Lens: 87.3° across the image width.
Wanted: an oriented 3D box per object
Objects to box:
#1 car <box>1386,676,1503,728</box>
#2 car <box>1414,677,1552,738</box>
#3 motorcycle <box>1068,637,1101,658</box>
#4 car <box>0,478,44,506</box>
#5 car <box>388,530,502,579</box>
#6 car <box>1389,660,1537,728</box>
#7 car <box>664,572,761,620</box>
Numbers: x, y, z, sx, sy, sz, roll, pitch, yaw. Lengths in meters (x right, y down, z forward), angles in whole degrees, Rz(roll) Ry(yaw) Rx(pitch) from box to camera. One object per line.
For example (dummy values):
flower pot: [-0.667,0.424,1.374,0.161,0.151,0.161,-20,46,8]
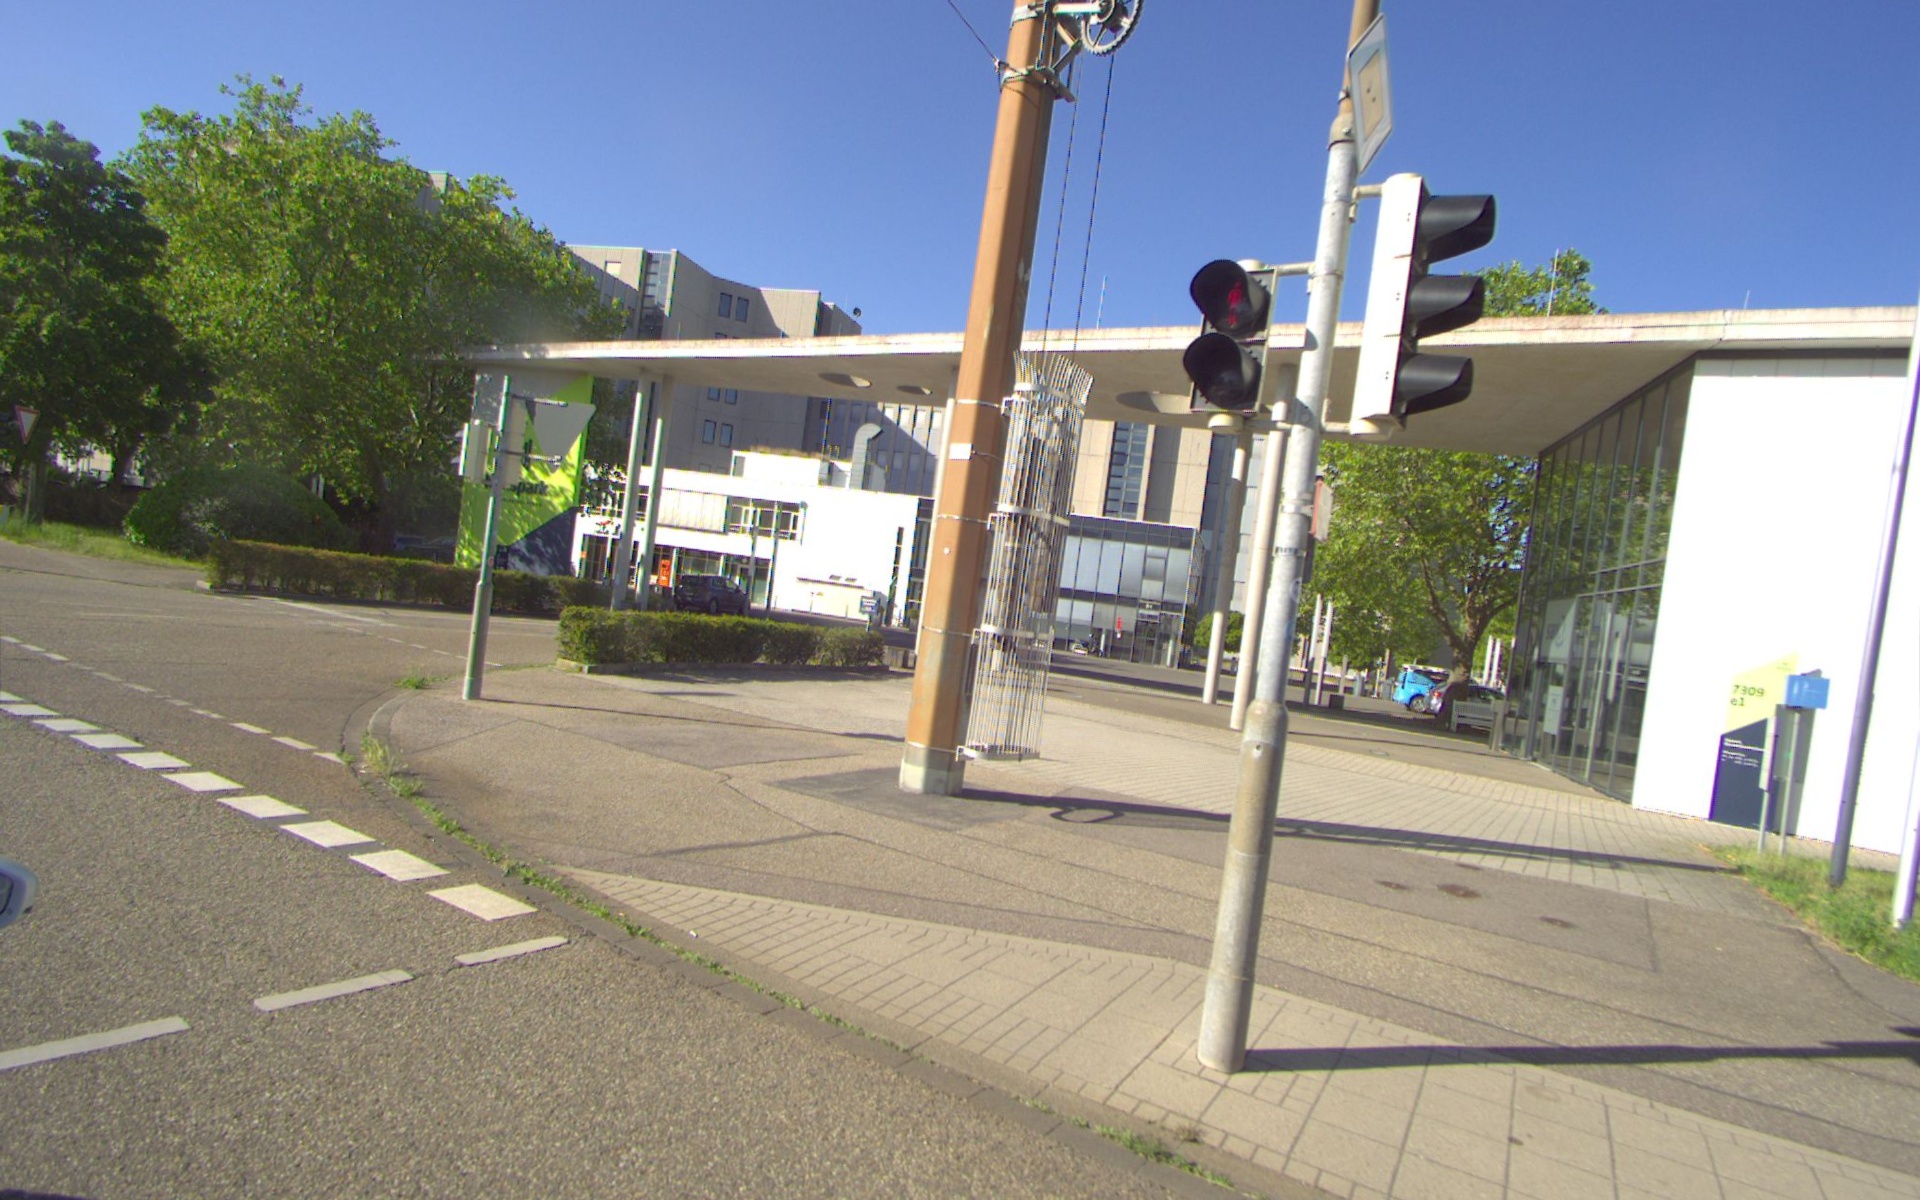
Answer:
car: [19.768,4.143,41.227,3.924,1.462,1.779,7,0,15]
car: [18.538,3.786,35.847,3.924,1.462,1.779,7,0,15]
motorcycle: [7.153,2.724,57.691,1.701,0.959,0.653,7,0,17]
car: [-58.086,-6.706,59.995,4.626,1.343,2.079,7,0,-24]
car: [-24.309,-2.122,47.646,1.861,1.707,4.467,7,-1,26]
car: [19.136,3.545,38.488,4.635,1.819,1.779,7,1,15]
car: [-10.564,-0.143,43.256,1.918,1.597,3.999,7,-1,23]
